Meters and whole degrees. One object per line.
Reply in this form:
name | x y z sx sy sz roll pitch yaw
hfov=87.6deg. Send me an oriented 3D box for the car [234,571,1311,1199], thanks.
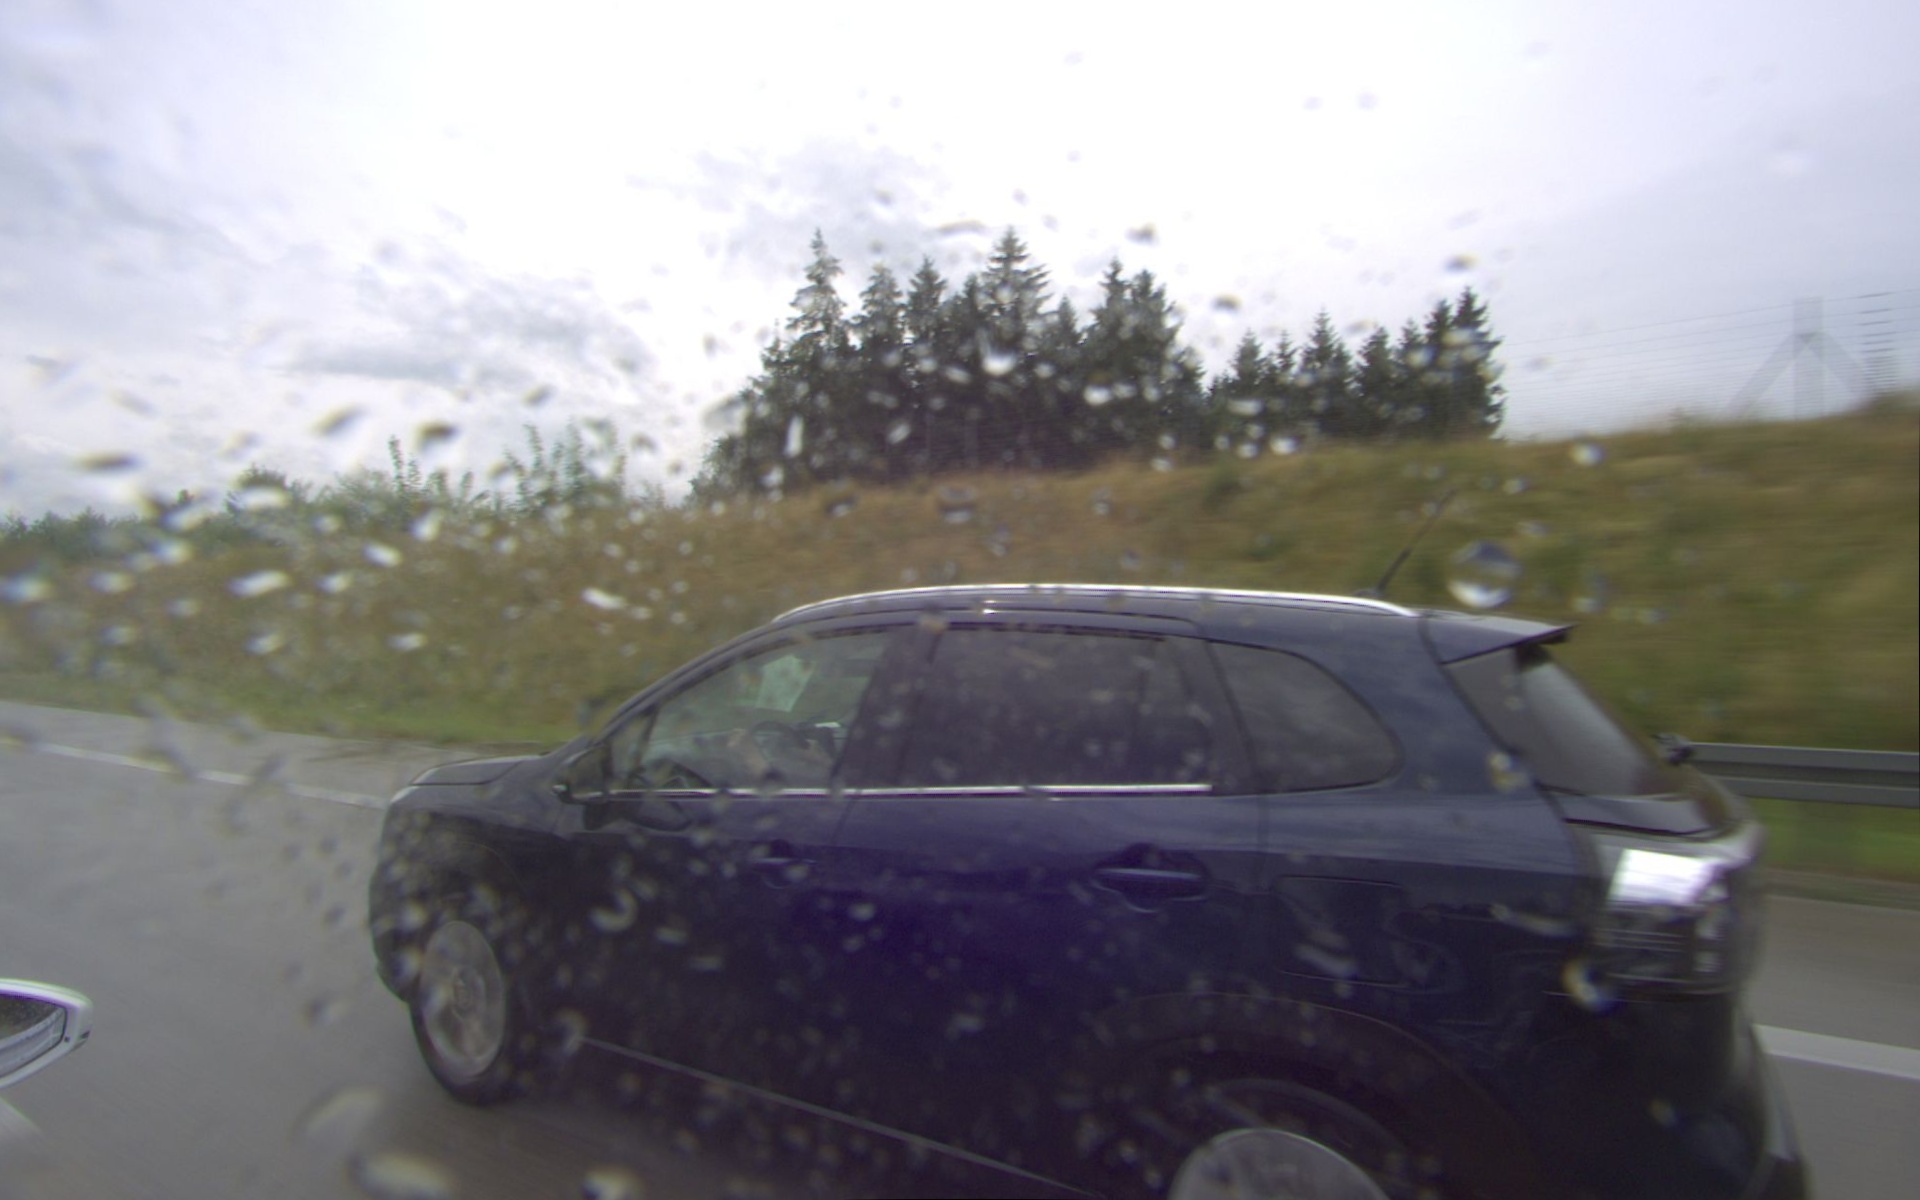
car | -0.774 0.785 3.683 3.580 1.596 1.891 0 -2 33
